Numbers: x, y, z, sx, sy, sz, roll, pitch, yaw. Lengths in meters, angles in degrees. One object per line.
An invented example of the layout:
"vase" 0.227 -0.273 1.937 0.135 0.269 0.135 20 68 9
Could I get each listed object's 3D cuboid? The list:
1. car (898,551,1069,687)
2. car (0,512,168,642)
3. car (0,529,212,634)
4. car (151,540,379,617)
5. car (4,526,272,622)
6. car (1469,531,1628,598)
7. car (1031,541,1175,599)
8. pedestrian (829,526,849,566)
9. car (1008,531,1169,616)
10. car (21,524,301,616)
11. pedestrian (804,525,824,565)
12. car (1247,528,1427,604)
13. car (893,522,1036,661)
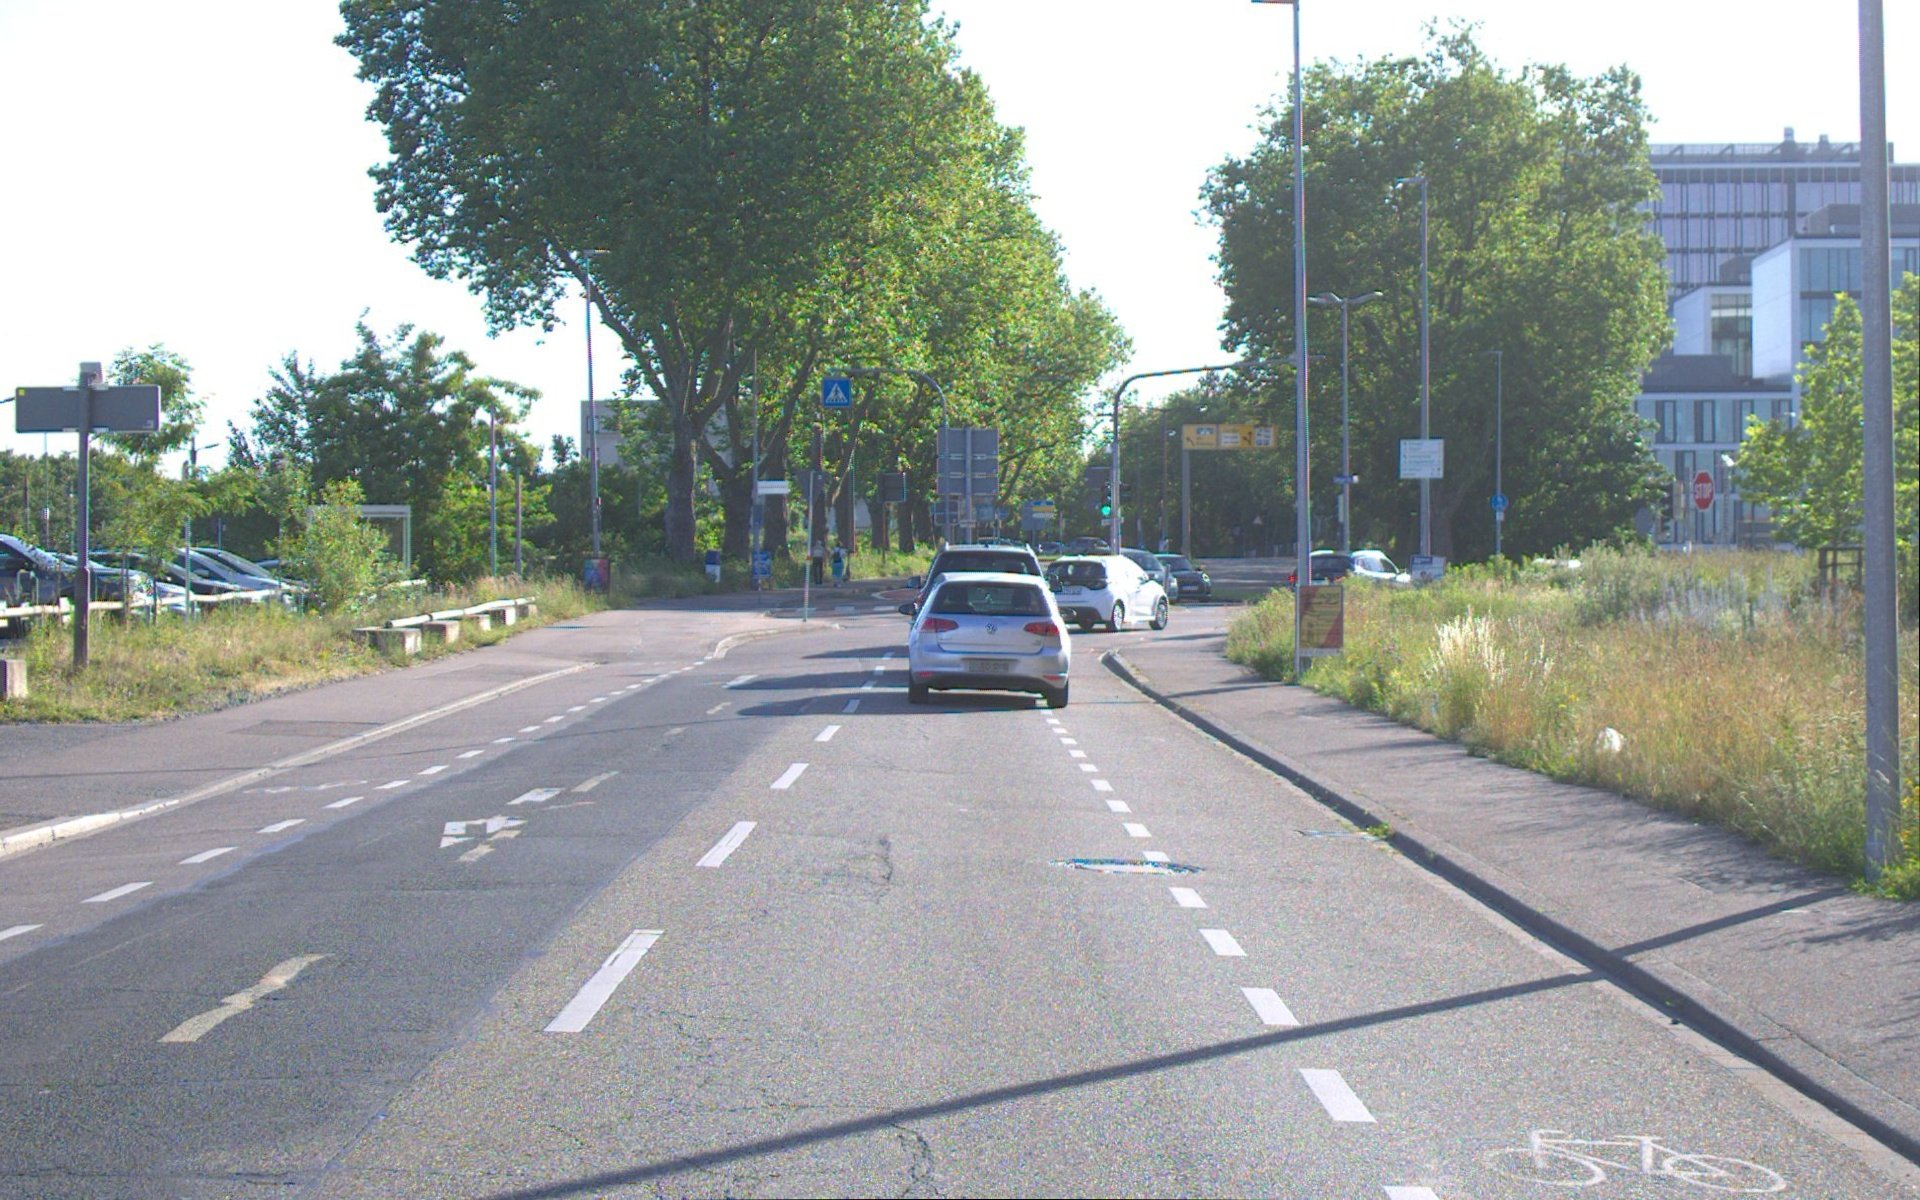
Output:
"car" 0.260 0.172 38.325 1.790 1.415 4.000 1 1 0
"car" -14.169 -0.356 50.000 4.845 1.828 2.000 1 1 -1
"car" -14.038 -0.300 52.984 4.594 1.552 2.000 1 1 -1
"car" -14.634 -0.464 72.503 4.425 1.552 1.878 1 1 -1
"car" -13.926 -0.447 58.401 4.088 1.552 1.878 1 1 -1
"car" 15.187 -0.912 88.626 2.169 1.678 3.990 1 1 44
"car" 4.047 -0.860 97.960 1.994 1.590 3.999 0 1 -37
"pedestrian" -4.290 -1.934 122.180 0.678 1.410 0.684 0 1 0
"car" 2.556 -0.525 67.309 1.900 1.590 3.995 1 1 22
"car" -14.193 -0.538 61.207 4.542 1.552 1.878 1 1 -1
"pedestrian" -5.198 -1.945 122.411 0.678 1.410 0.684 0 1 0
"car" 8.554 -0.777 77.845 2.169 1.678 3.990 1 1 41
"car" 0.054 -0.135 46.535 1.819 1.763 4.629 1 1 0
